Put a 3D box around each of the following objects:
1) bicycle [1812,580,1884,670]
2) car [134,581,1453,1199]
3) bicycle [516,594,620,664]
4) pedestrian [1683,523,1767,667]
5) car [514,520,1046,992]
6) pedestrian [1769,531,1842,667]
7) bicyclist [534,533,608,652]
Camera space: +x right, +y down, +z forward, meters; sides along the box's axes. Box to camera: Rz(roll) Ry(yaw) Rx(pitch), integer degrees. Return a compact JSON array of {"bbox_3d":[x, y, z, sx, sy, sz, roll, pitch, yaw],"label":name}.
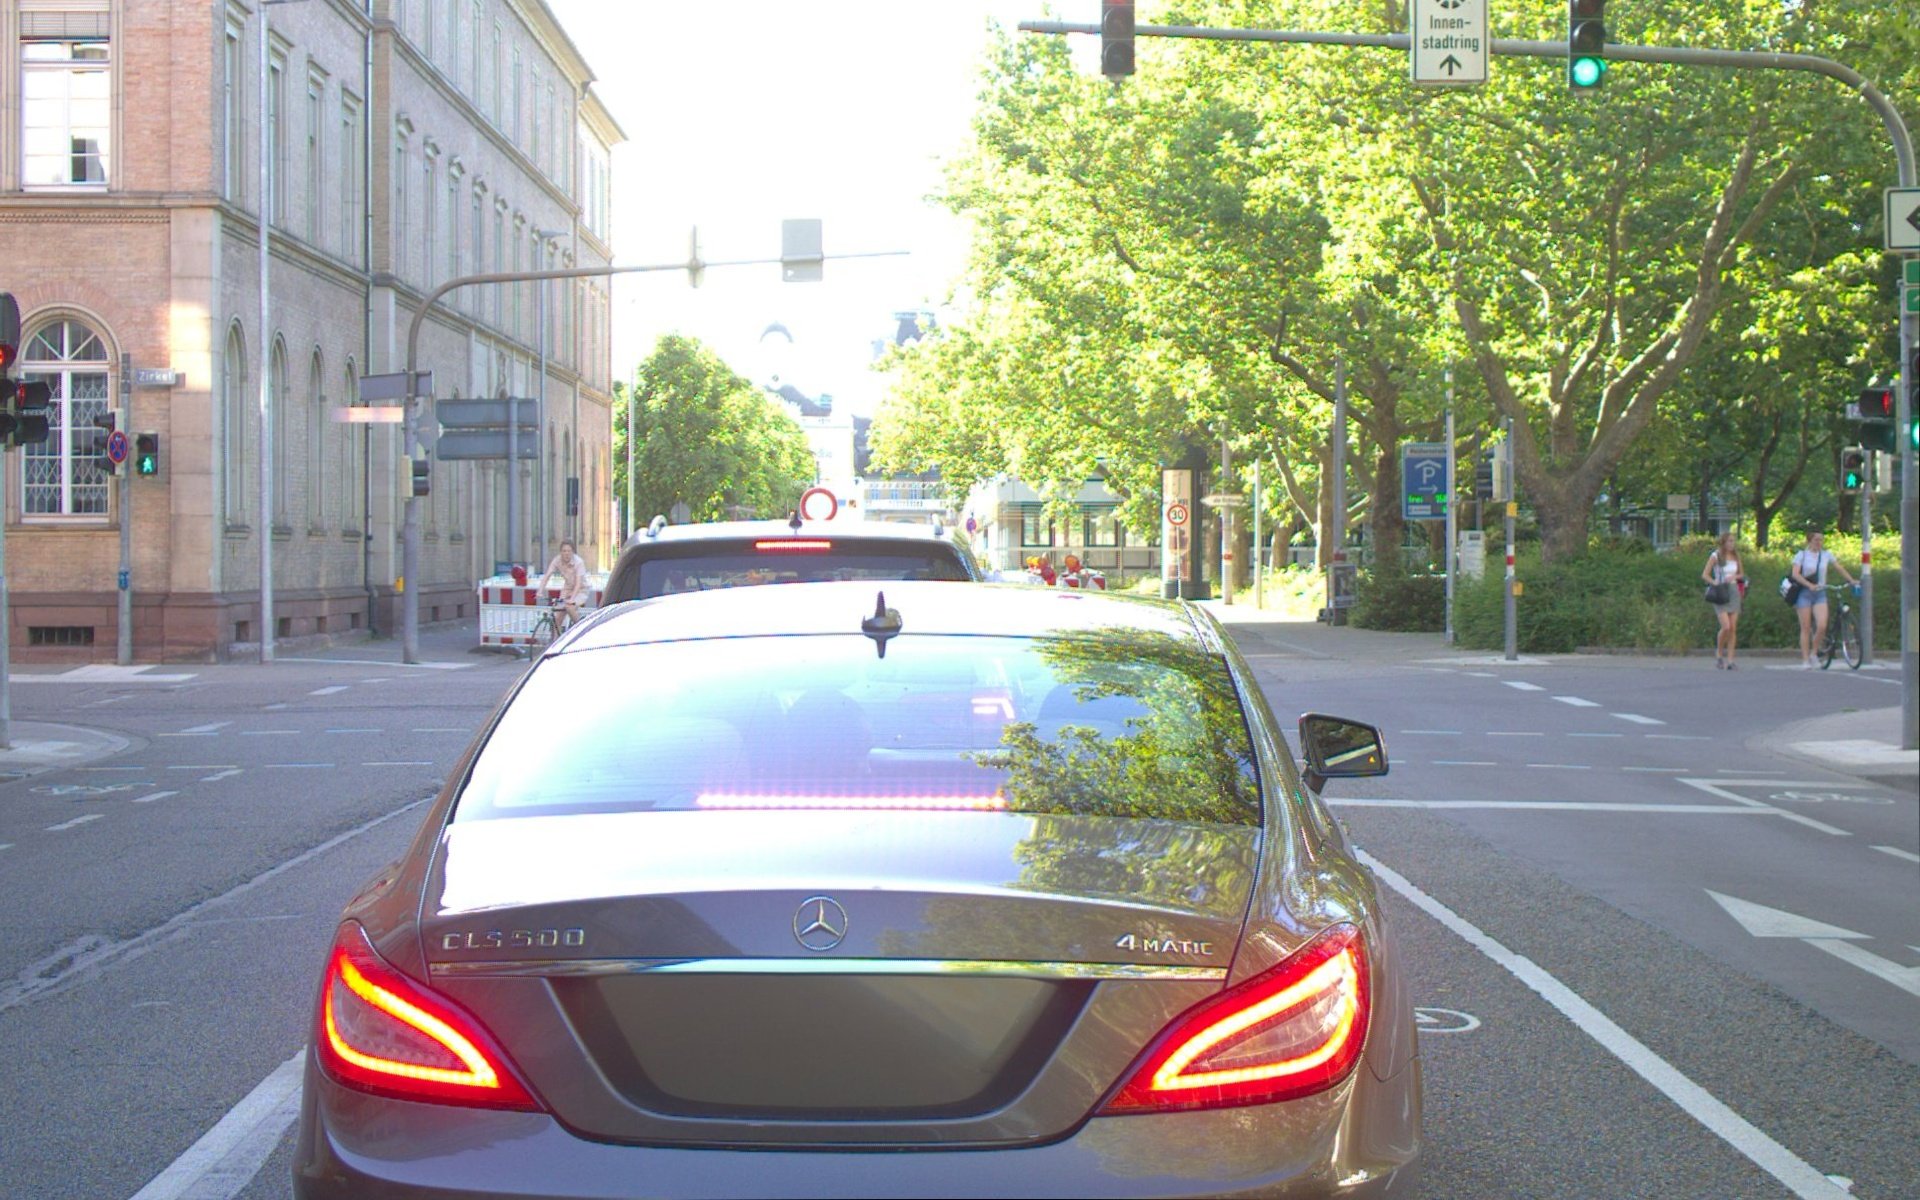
[{"bbox_3d":[11.195,0.300,43.381,0.524,1.096,1.741,1,1,3],"label":"bicycle"},{"bbox_3d":[-0.048,0.693,7.042,1.843,1.424,4.516,1,1,5],"label":"car"},{"bbox_3d":[-5.177,0.376,45.502,0.548,0.888,1.866,1,1,21],"label":"bicycle"},{"bbox_3d":[9.702,-0.058,43.629,0.732,1.802,0.909,-1,-1,-9],"label":"pedestrian"},{"bbox_3d":[-0.580,0.515,13.738,1.809,1.607,4.000,0,1,1],"label":"car"},{"bbox_3d":[10.694,-0.020,43.493,0.683,1.691,0.970,1,0,2],"label":"pedestrian"},{"bbox_3d":[-5.151,-0.101,45.549,0.649,1.553,0.806,1,0,21],"label":"bicyclist"}]
